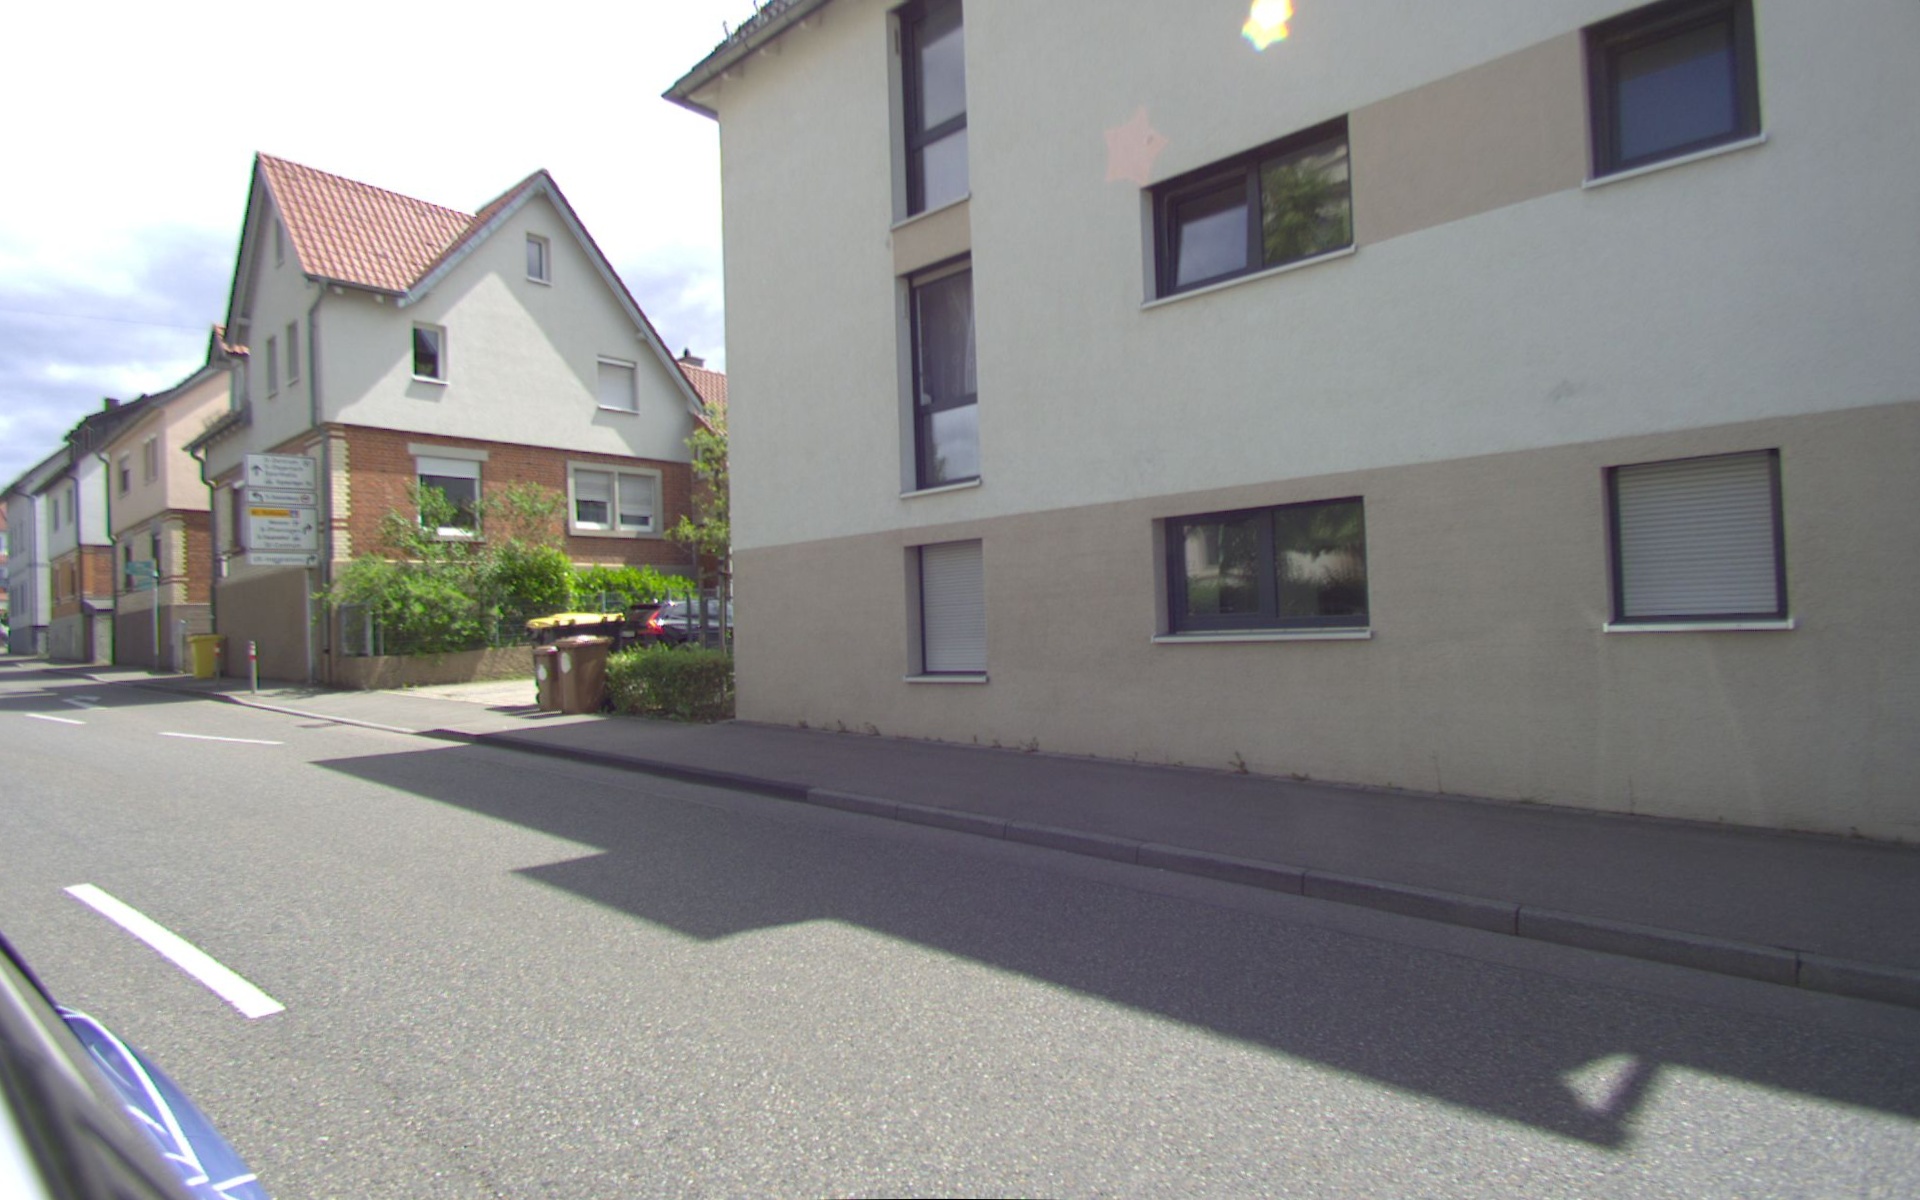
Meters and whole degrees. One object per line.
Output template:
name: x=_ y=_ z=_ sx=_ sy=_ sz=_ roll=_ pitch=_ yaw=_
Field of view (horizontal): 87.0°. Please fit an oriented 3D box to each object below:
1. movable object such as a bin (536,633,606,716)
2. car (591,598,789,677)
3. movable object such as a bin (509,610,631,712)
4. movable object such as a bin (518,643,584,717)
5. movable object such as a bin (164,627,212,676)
movable object such as a bin: x=-5.357 y=1.012 z=13.935 sx=0.659 sy=1.083 sz=0.634 roll=-2 pitch=-1 yaw=37
car: x=-6.086 y=0.786 z=23.128 sx=1.999 sy=1.586 sz=3.948 roll=-2 pitch=0 yaw=39
movable object such as a bin: x=-5.970 y=0.898 z=15.531 sx=1.168 sy=1.457 sz=1.322 roll=-2 pitch=-1 yaw=36
movable object such as a bin: x=-5.855 y=1.128 z=14.474 sx=0.656 sy=1.008 sz=0.634 roll=-2 pitch=-1 yaw=40
movable object such as a bin: x=-19.265 y=1.271 z=25.249 sx=0.801 sy=1.170 sz=0.757 roll=-2 pitch=0 yaw=38
